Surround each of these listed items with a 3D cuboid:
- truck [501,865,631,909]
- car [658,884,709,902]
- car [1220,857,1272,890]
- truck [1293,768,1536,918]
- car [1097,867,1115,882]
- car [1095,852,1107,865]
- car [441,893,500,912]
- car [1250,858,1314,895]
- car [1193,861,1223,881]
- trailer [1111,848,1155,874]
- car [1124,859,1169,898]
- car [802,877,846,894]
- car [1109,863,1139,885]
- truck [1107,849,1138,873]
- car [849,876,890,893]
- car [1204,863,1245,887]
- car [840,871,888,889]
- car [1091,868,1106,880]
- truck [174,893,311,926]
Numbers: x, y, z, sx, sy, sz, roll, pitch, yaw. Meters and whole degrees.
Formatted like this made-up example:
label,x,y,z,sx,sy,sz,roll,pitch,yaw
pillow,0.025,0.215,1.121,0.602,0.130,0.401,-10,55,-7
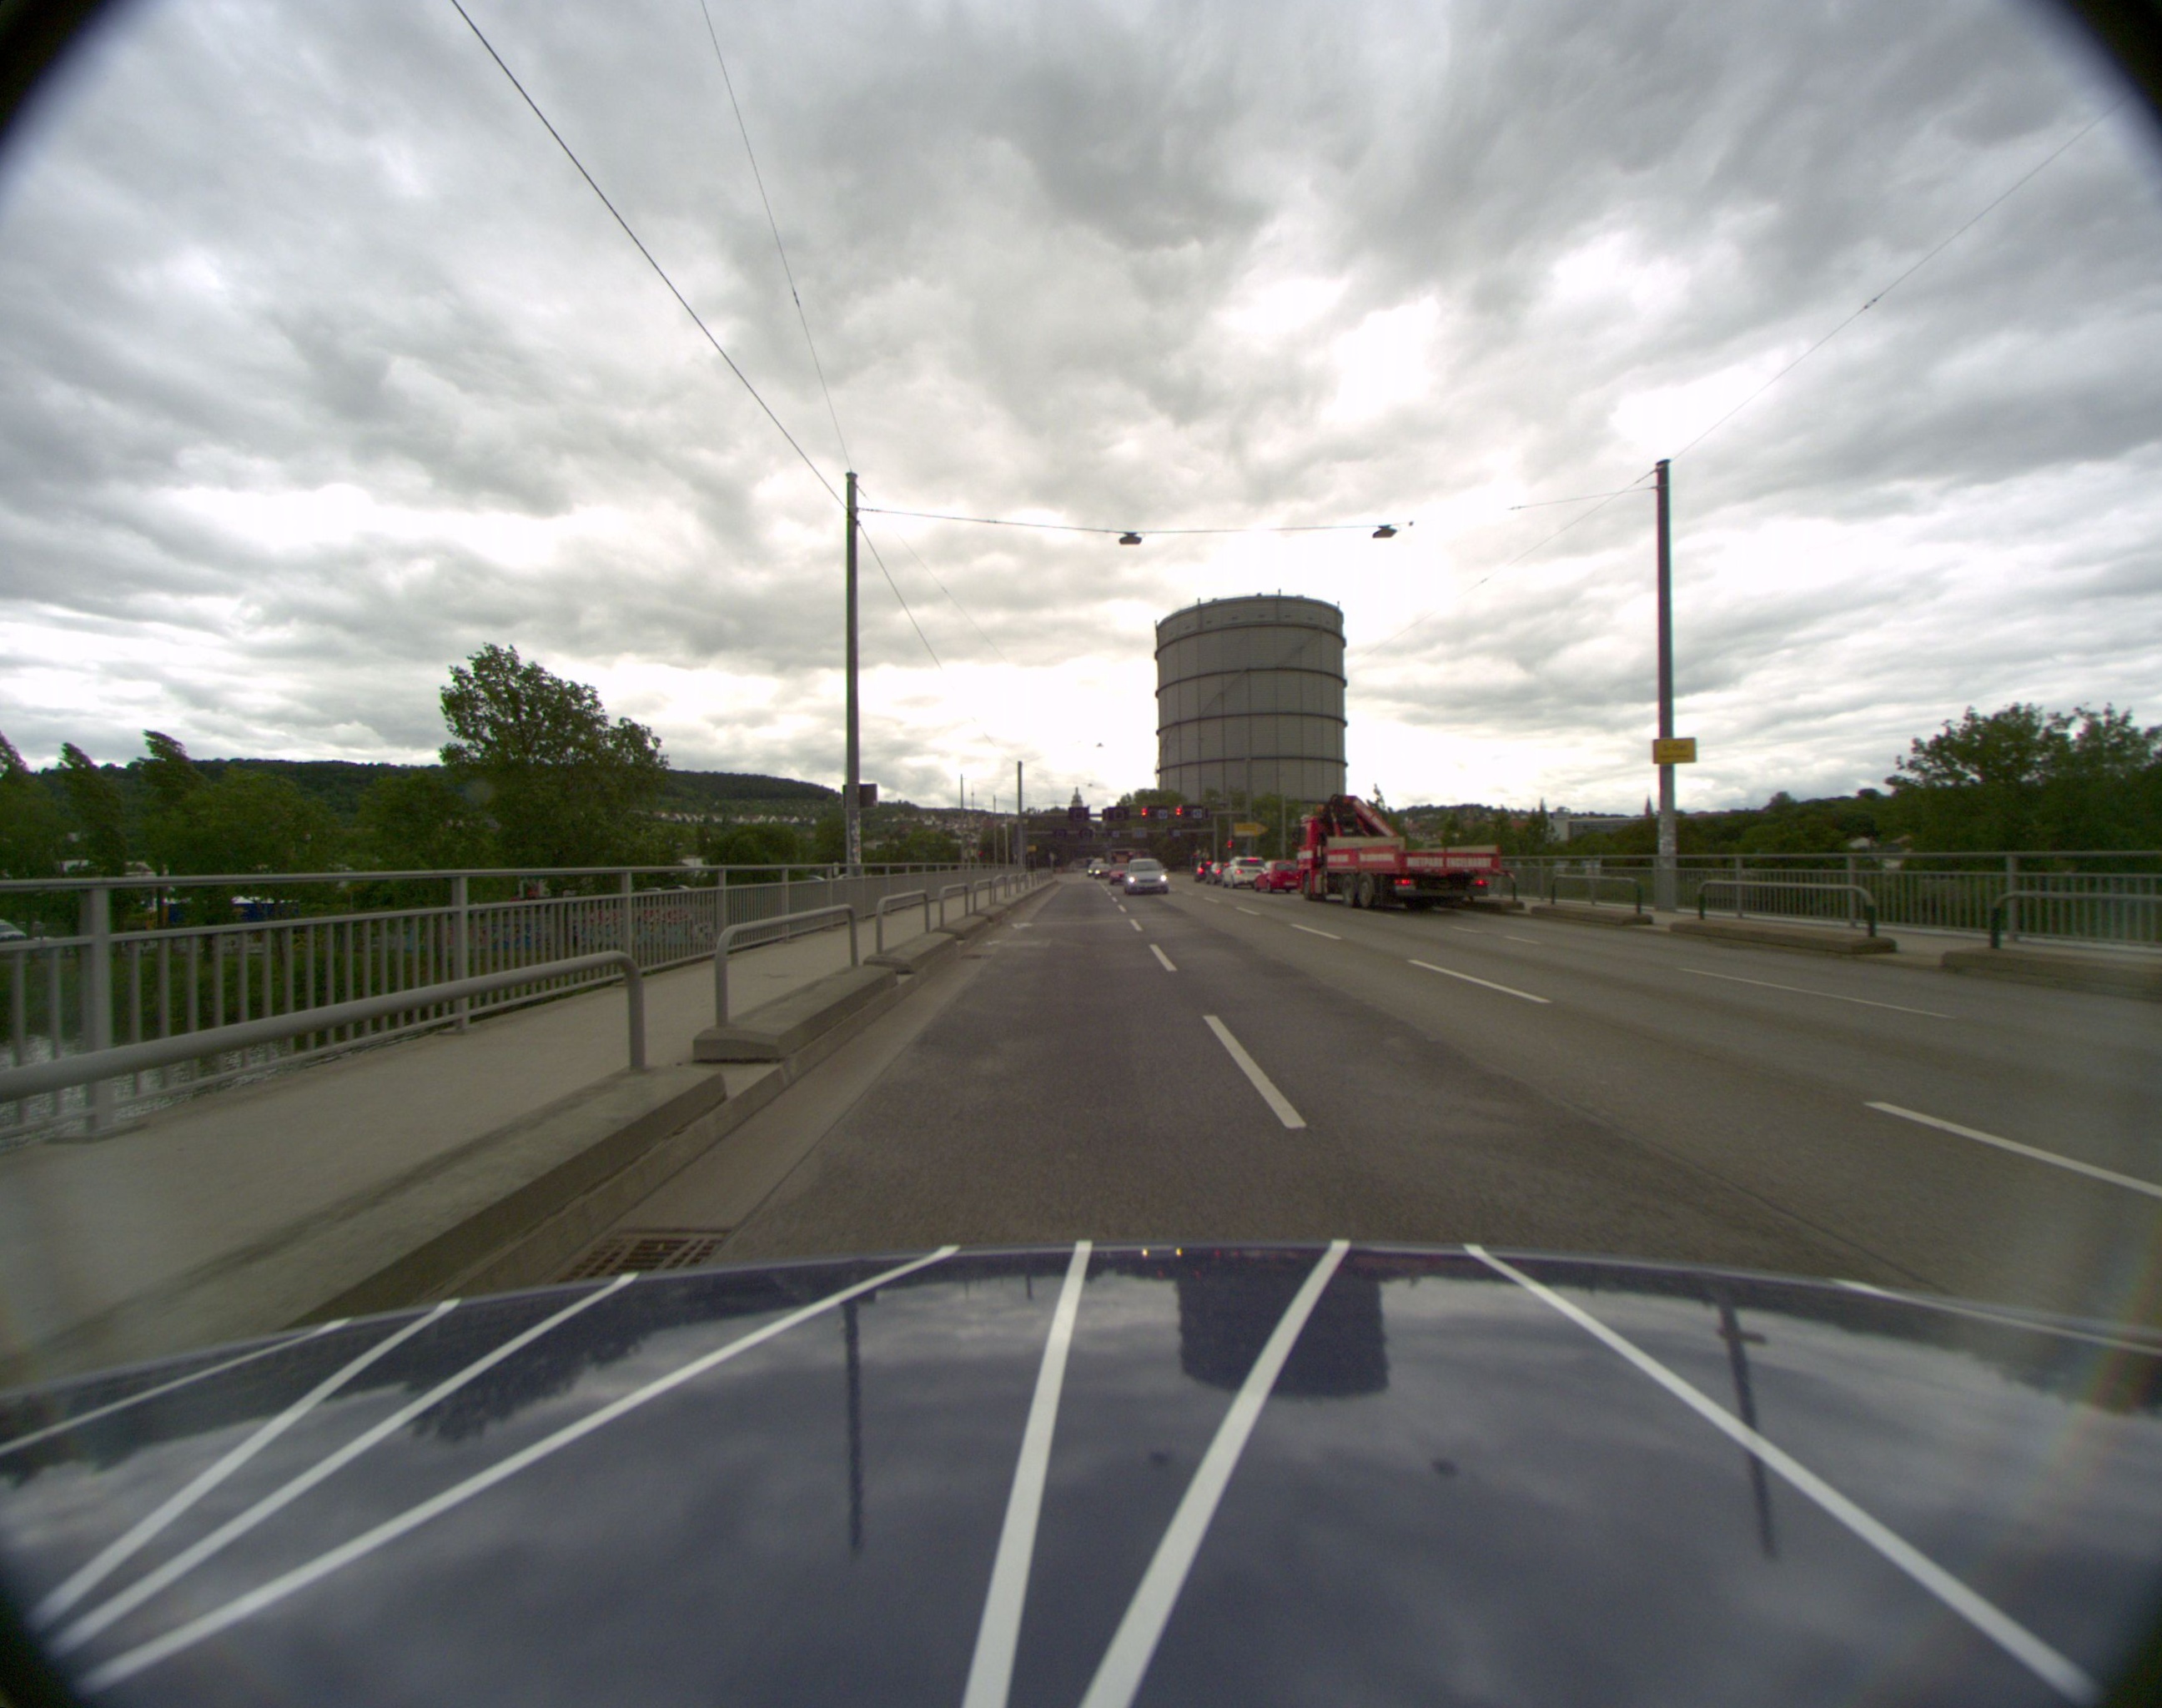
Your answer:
label,x,y,z,sx,sy,sz,roll,pitch,yaw
truck,-50.796,3.206,75.175,10.423,3.856,3.226,-2,0,-3
car,-39.562,3.904,75.658,4.045,1.531,1.695,-3,0,-1
car,9.081,1.037,42.163,1.884,1.750,4.803,0,-1,0
truck,9.294,-0.198,22.988,3.013,3.544,9.983,0,-1,0
car,2.489,2.002,75.101,1.696,1.411,4.469,-1,-1,1
car,4.160,0.981,157.041,2.331,2.509,4.949,1,0,1
car,-62.332,4.961,77.603,4.390,1.531,1.921,-3,0,-1
car,9.231,1.002,35.199,1.884,1.593,4.016,0,-1,0
car,9.651,1.301,58.004,1.840,1.495,3.872,0,-1,2
trailer,8.958,1.253,133.939,3.673,4.295,13.766,2,-1,-13
car,2.876,1.073,34.103,1.747,1.594,3.683,-2,-1,1
car,-25.837,3.162,76.500,3.757,1.531,1.695,-3,0,-1
car,2.935,1.362,52.322,1.747,1.454,3.955,0,-1,-2
truck,7.598,1.313,140.675,3.673,4.295,7.227,2,-1,-13
car,-21.289,3.078,76.640,3.621,1.531,1.695,-3,0,-1
car,9.453,1.366,50.308,1.840,1.495,4.517,0,-1,0
car,-22.686,2.716,79.385,4.339,1.610,2.000,-3,1,0
car,2.058,2.373,90.401,1.696,1.411,4.468,1,-1,0
truck,-112.502,7.454,102.049,14.418,3.893,3.381,1,-1,0
